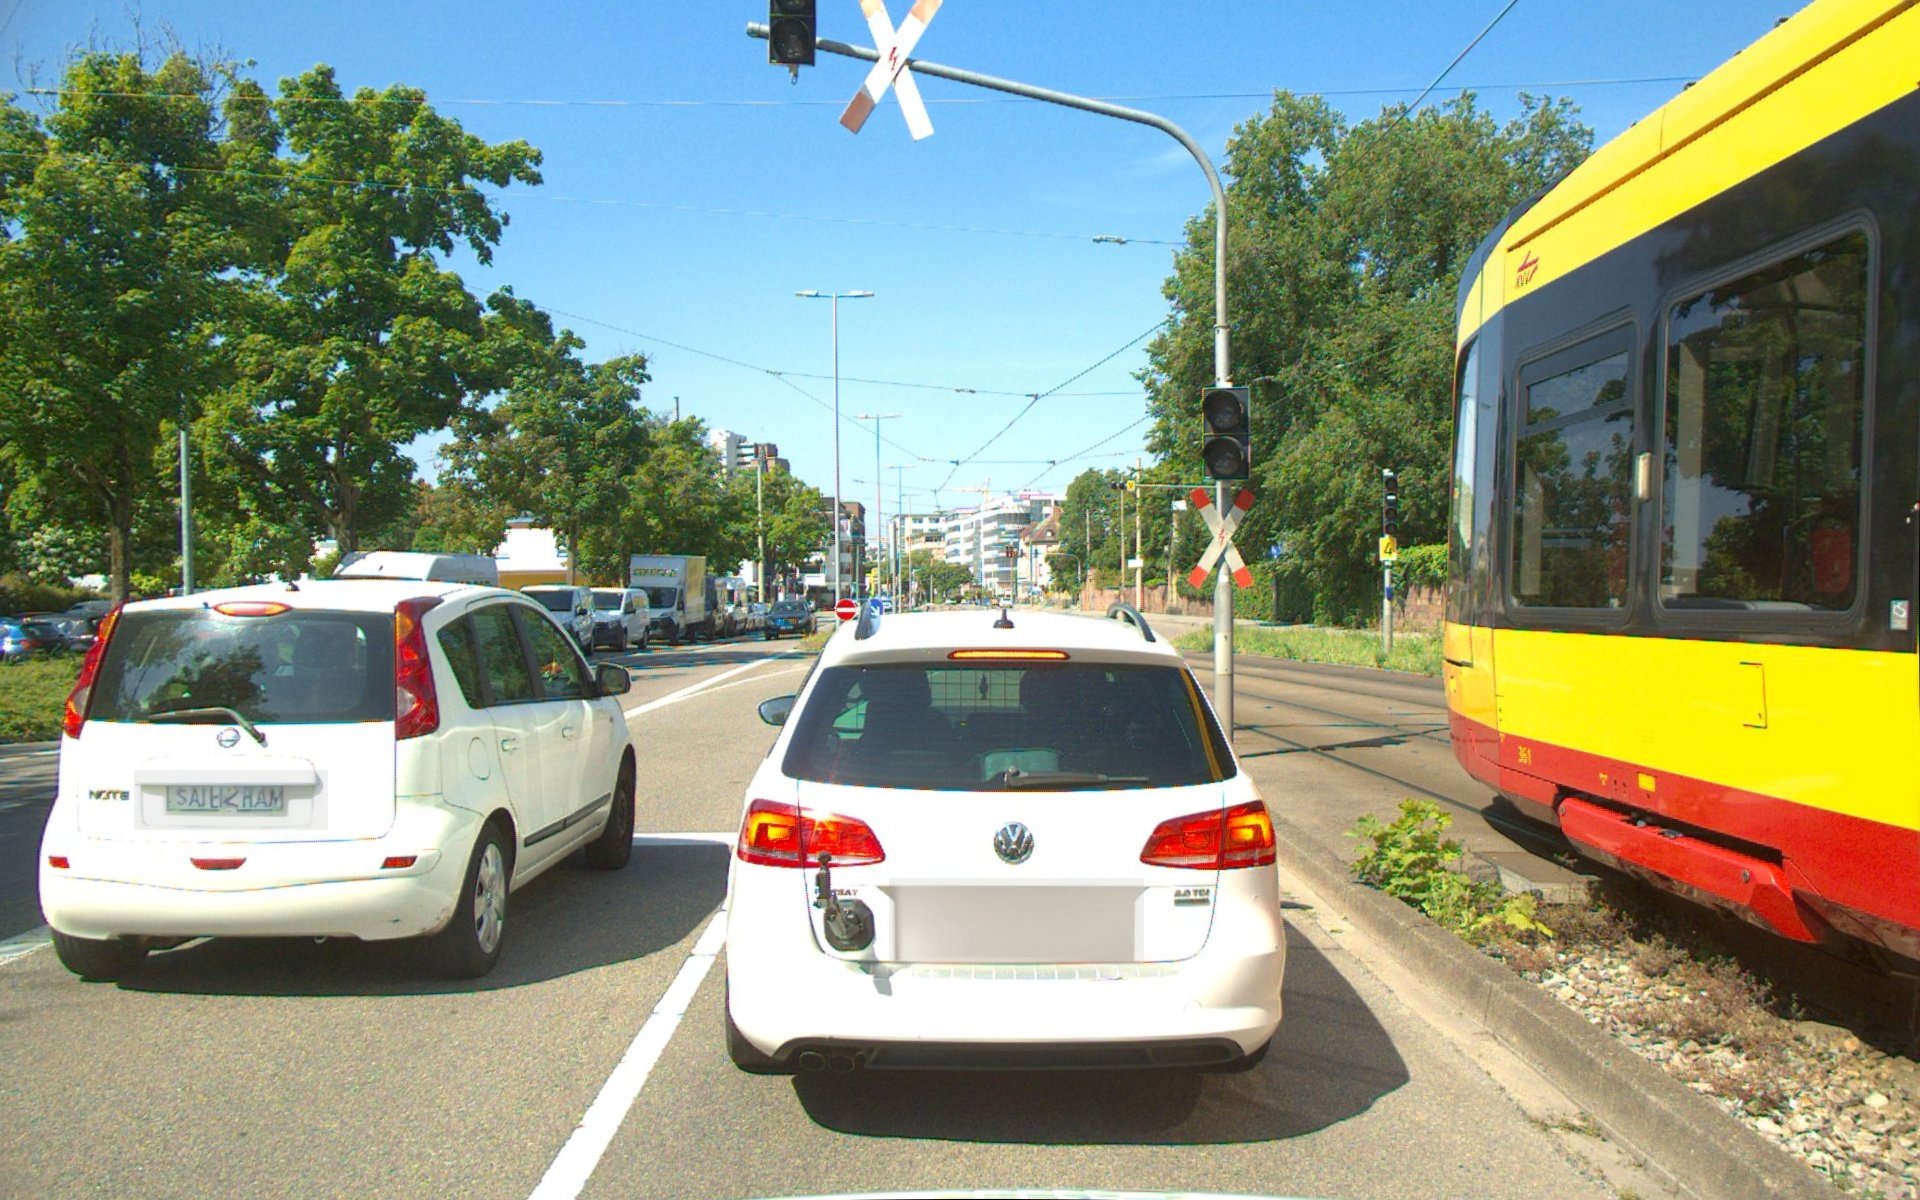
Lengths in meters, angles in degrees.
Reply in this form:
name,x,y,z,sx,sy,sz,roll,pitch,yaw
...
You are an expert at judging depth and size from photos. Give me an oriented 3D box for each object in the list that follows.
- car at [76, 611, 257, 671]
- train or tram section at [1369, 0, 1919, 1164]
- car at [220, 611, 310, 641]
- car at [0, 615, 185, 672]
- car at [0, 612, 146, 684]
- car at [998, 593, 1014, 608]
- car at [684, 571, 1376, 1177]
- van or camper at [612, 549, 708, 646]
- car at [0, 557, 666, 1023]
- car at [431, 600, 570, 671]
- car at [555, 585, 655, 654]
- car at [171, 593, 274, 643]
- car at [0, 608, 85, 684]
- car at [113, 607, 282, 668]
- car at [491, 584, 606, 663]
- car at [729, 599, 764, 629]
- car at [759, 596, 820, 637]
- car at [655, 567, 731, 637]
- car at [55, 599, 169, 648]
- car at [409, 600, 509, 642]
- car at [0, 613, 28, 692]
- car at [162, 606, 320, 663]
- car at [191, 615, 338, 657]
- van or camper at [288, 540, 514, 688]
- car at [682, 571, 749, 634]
name,x,y,z,sx,sy,sz,roll,pitch,yaw
car,-20.985,1.068,43.845,3.906,1.434,1.732,-1,0,-1
train or tram section,4.018,-0.278,2.880,2.615,3.716,15.303,1,0,-1
car,-34.113,1.251,81.205,3.769,1.449,1.531,0,0,-3
car,-21.565,1.065,41.058,3.836,1.293,1.663,-2,0,-1
car,-21.446,1.116,38.725,3.906,1.571,1.663,-2,0,-1
car,6.626,0.069,237.789,2.083,2.049,5.282,-1,0,-1
car,0.181,0.696,6.167,1.742,1.516,3.846,1,0,0
van or camper,-10.795,-0.111,60.136,2.150,3.298,6.772,1,0,1
car,-2.598,0.656,7.802,1.695,1.624,4.011,0,0,0
car,-10.575,0.768,38.431,1.893,1.480,4.885,-1,0,-1
car,-11.054,0.571,51.839,2.152,1.974,5.182,-1,0,-2
car,-34.057,0.809,76.441,3.908,2.238,1.909,0,0,-4
car,-21.136,1.010,35.365,3.907,1.571,1.663,-2,0,-3
car,-21.321,1.023,46.327,3.906,1.571,1.663,-2,0,-1
car,-11.064,0.591,44.832,2.153,1.974,5.180,-1,0,-5
car,-11.056,0.702,85.727,1.265,1.516,4.350,1,0,-1
car,-6.477,0.609,63.272,1.748,1.434,4.306,0,1,1
car,-10.905,0.076,68.063,2.151,2.715,6.079,1,0,0
car,-36.595,0.999,71.459,3.908,2.038,1.909,-1,0,-4
car,-22.244,0.920,73.458,3.907,1.724,1.662,-2,0,-3
car,-20.988,1.095,32.872,3.907,1.571,1.663,-2,0,-3
car,-21.301,1.005,49.100,3.906,1.571,1.663,-2,0,-1
car,-21.565,1.112,51.370,3.809,1.174,1.663,-2,0,-1
van or camper,-10.716,0.237,32.348,2.211,2.558,6.147,-1,0,1
car,-10.981,0.099,74.778,2.151,2.676,5.978,1,0,0
